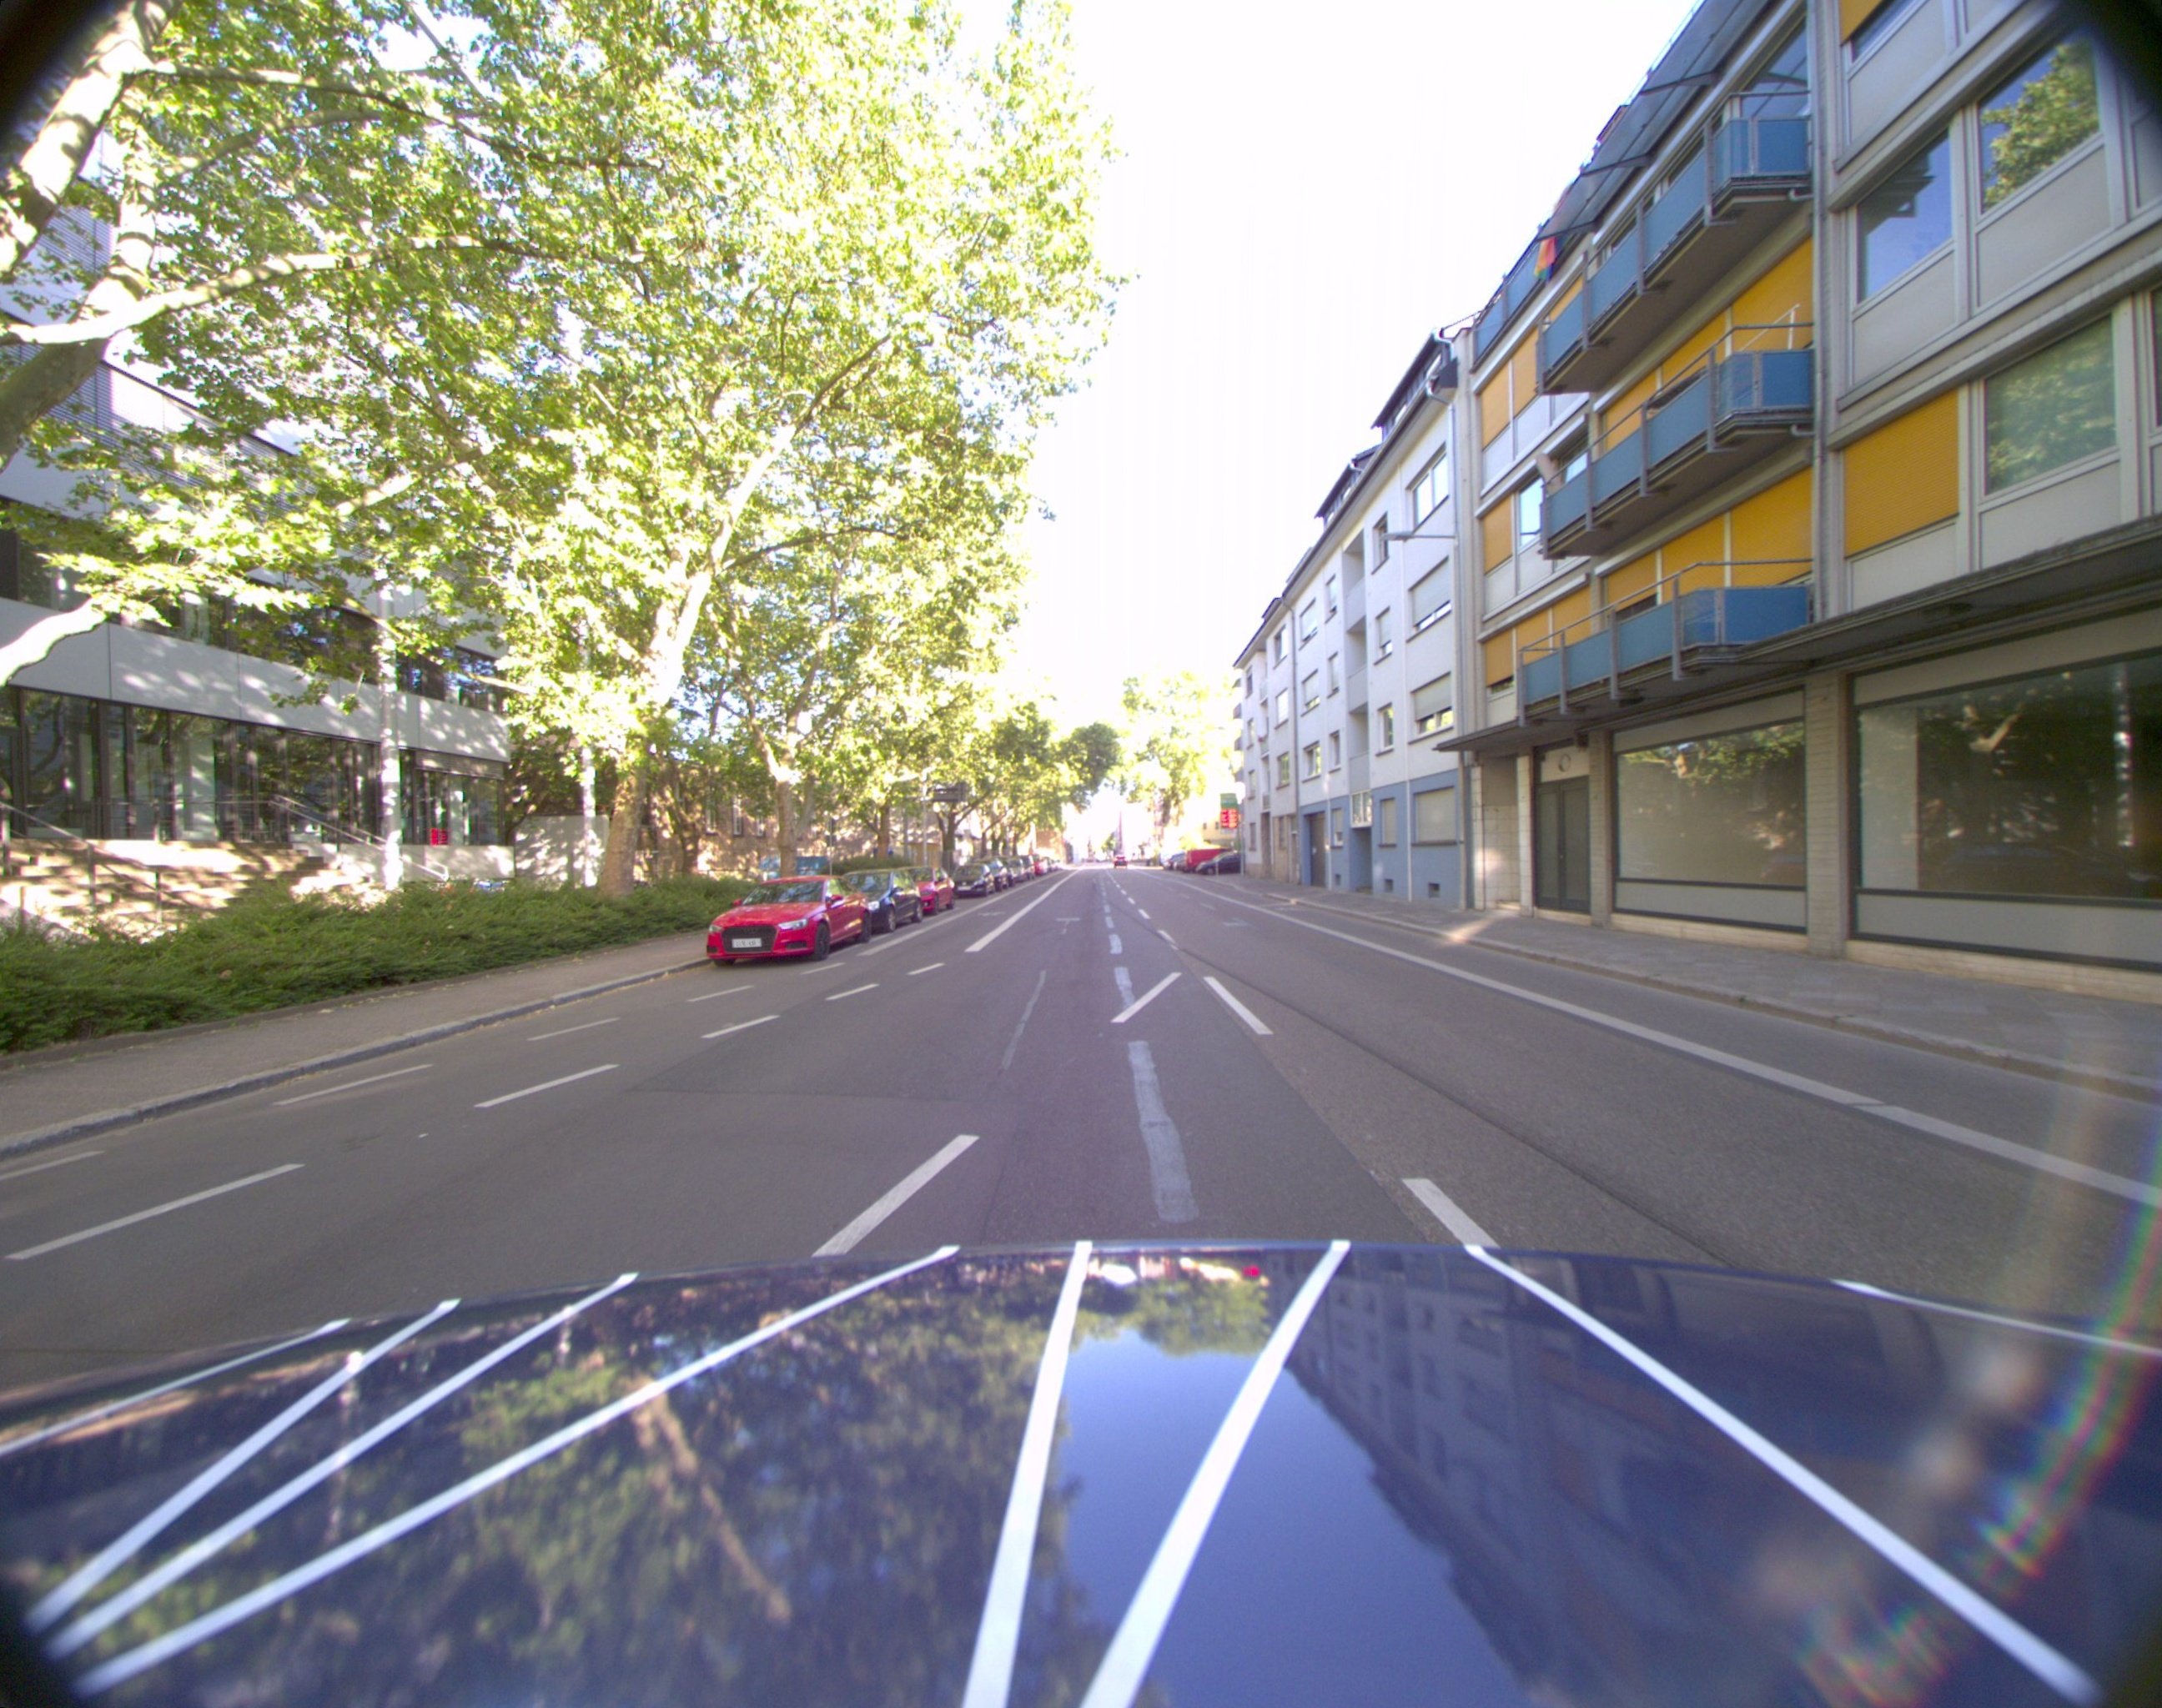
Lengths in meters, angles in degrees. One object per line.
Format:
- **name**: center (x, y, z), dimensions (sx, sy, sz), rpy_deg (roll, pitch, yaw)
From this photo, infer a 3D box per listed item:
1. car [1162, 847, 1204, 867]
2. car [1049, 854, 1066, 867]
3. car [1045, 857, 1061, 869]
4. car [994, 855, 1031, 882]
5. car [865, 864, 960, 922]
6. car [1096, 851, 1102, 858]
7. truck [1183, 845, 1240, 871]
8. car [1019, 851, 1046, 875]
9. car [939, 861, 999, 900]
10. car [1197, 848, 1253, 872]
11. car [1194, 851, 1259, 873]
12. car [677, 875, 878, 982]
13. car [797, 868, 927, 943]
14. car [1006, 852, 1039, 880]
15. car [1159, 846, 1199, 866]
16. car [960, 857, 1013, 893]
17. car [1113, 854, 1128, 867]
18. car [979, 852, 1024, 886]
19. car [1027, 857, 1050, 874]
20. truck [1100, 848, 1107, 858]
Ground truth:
- **car**: center (10.865, 0.267, 80.925), dimensions (4.236, 1.945, 2.000), rpy_deg (-2, 1, 3)
- **car**: center (-3.183, 0.893, 103.021), dimensions (1.998, 1.682, 3.999), rpy_deg (-2, 1, 1)
- **car**: center (-3.344, 1.057, 92.750), dimensions (1.693, 1.364, 3.999), rpy_deg (-2, 1, 1)
- **car**: center (-4.554, 0.944, 50.897), dimensions (1.998, 1.557, 4.142), rpy_deg (-2, 1, 1)
- **car**: center (-5.126, 1.143, 23.682), dimensions (1.998, 1.490, 3.828), rpy_deg (-2, 1, 1)
- **car**: center (6.166, 0.158, 259.467), dimensions (1.998, 2.002, 3.999), rpy_deg (-2, 1, 1)
- **truck**: center (10.289, 0.306, 60.227), dimensions (4.092, 1.913, 2.000), rpy_deg (-2, 1, 0)
- **car**: center (-4.221, 0.739, 66.362), dimensions (1.998, 1.960, 3.999), rpy_deg (-2, 1, 1)
- **car**: center (-4.835, 1.124, 33.191), dimensions (1.998, 1.447, 3.589), rpy_deg (-2, 1, 1)
- **car**: center (10.804, 0.436, 57.127), dimensions (3.810, 1.563, 1.658), rpy_deg (-2, 1, 0)
- **car**: center (10.458, 0.558, 54.795), dimensions (4.324, 1.398, 1.658), rpy_deg (-2, 1, 0)
- **car**: center (-5.184, 1.192, 13.650), dimensions (1.907, 1.417, 3.999), rpy_deg (-2, 1, 1)
- **car**: center (-5.168, 1.162, 18.452), dimensions (1.998, 1.452, 3.644), rpy_deg (-2, 1, 1)
- **car**: center (-4.248, 0.835, 55.634), dimensions (1.998, 1.838, 3.999), rpy_deg (-2, 1, 1)
- **car**: center (10.952, 0.200, 85.326), dimensions (4.236, 2.025, 2.000), rpy_deg (-2, 1, 3)
- **car**: center (-4.682, 0.998, 38.133), dimensions (1.998, 1.592, 4.142), rpy_deg (-2, 1, 1)
- **car**: center (5.161, 0.827, 99.223), dimensions (1.847, 1.668, 3.999), rpy_deg (1, 1, 1)
- **car**: center (-4.605, 0.830, 44.529), dimensions (1.998, 1.777, 4.572), rpy_deg (-2, 1, 1)
- **car**: center (-4.034, 1.071, 72.009), dimensions (1.824, 1.466, 3.999), rpy_deg (-2, 1, 1)
- **truck**: center (6.878, -0.326, 233.835), dimensions (1.998, 2.653, 5.314), rpy_deg (-2, 1, 0)
